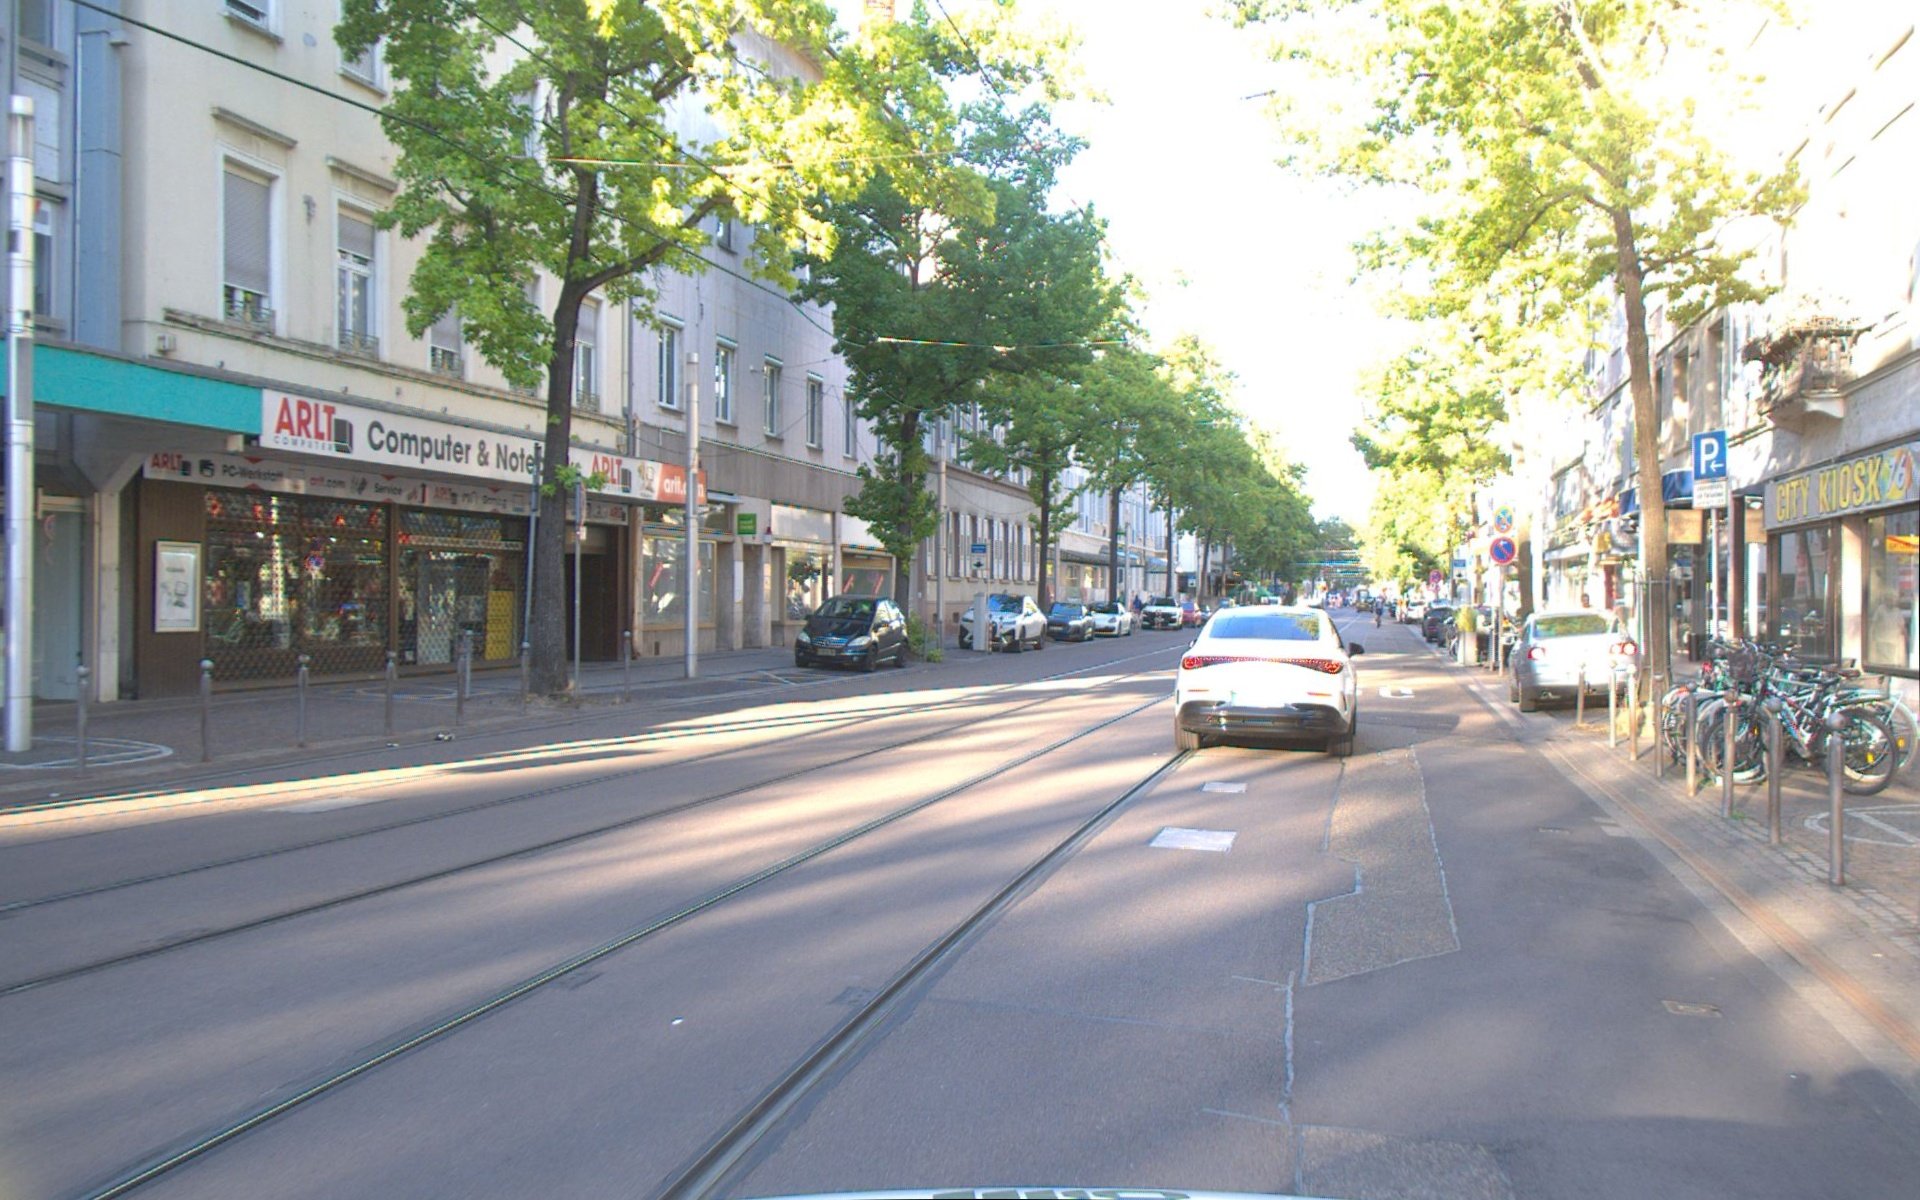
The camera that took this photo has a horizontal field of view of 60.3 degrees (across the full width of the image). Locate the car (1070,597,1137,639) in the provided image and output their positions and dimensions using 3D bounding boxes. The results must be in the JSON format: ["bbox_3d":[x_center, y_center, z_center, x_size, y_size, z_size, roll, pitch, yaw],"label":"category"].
[{"bbox_3d":[6.136,0.764,70.195,1.905,1.668,4.912,1,0,16],"label":"car"}]

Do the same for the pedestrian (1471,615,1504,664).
[{"bbox_3d":[13.973,1.037,43.791,0.800,1.287,0.586,0,0,20],"label":"pedestrian"}]

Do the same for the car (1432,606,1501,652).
[{"bbox_3d":[17.802,0.999,58.307,1.775,1.512,4.003,1,0,9],"label":"car"}]

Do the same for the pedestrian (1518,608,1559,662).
[{"bbox_3d":[15.170,0.908,43.393,0.698,1.411,0.742,0,0,-23],"label":"pedestrian"}]

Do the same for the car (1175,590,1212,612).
[{"bbox_3d":[14.903,0.058,105.478,1.951,1.315,4.003,1,0,14],"label":"car"}]

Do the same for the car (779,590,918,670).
[{"bbox_3d":[-2.449,0.658,37.401,1.920,1.668,4.003,1,0,15],"label":"car"}]

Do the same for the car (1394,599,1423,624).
[{"bbox_3d":[32.312,0.797,119.110,1.951,1.758,4.244,0,0,14],"label":"car"}]

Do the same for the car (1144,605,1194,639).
[{"bbox_3d":[11.167,1.145,88.187,1.920,1.721,5.016,1,0,15],"label":"car"}]

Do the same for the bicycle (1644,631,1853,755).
[{"bbox_3d":[7.924,0.921,16.687,1.826,1.175,0.562,1,-1,16],"label":"bicycle"}]

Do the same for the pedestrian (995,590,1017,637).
[{"bbox_3d":[1.734,0.523,62.489,0.671,1.751,0.656,1,0,15],"label":"pedestrian"}]

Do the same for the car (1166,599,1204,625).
[{"bbox_3d":[13.293,0.711,97.629,1.653,1.525,4.237,1,0,15],"label":"car"}]

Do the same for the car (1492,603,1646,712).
[{"bbox_3d":[9.278,0.846,25.505,1.738,1.465,4.425,-3,-1,15],"label":"car"}]

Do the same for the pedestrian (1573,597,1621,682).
[{"bbox_3d":[12.740,0.785,33.086,0.786,1.672,0.756,-1,0,14],"label":"pedestrian"}]

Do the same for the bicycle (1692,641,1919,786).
[{"bbox_3d":[7.323,0.961,14.240,1.826,1.175,0.348,1,-1,16],"label":"bicycle"}]

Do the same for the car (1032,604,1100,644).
[{"bbox_3d":[4.053,0.888,62.511,1.920,1.437,4.850,1,0,12],"label":"car"}]

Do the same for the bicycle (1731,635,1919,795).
[{"bbox_3d":[7.074,0.889,13.328,0.454,1.175,1.668,1,-1,-25],"label":"bicycle"}]

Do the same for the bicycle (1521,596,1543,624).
[{"bbox_3d":[22.801,0.385,65.946,0.634,1.093,1.863,0,0,13],"label":"bicycle"}]

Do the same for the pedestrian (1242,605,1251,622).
[{"bbox_3d":[25.802,1.190,148.962,0.508,1.504,0.648,-2,-2,-13],"label":"pedestrian"}]

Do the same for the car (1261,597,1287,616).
[{"bbox_3d":[34.070,0.734,179.515,1.953,2.049,3.999,0,0,22],"label":"car"}]

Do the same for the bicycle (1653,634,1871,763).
[{"bbox_3d":[7.759,0.937,16.075,1.826,1.175,0.562,1,-1,16],"label":"bicycle"}]

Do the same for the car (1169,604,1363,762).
[{"bbox_3d":[3.395,0.793,17.808,1.828,1.494,4.045,0,0,14],"label":"car"}]

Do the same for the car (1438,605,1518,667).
[{"bbox_3d":[15.432,1.048,49.413,1.764,1.482,3.657,9,1,12],"label":"car"}]

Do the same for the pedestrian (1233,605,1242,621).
[{"bbox_3d":[24.806,1.157,147.781,0.559,1.489,0.648,0,0,34],"label":"pedestrian"}]

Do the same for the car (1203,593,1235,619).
[{"bbox_3d":[18.597,0.426,118.712,1.521,1.827,3.166,0,0,23],"label":"car"}]

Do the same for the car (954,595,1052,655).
[{"bbox_3d":[1.410,0.749,51.489,1.920,1.668,4.815,3,0,15],"label":"car"}]

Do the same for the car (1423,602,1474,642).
[{"bbox_3d":[19.466,0.861,66.003,1.831,1.478,4.108,-2,-1,16],"label":"car"}]

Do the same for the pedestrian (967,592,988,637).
[{"bbox_3d":[0.677,0.557,62.918,0.660,1.709,0.648,0,0,14],"label":"pedestrian"}]

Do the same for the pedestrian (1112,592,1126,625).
[{"bbox_3d":[8.917,0.451,92.606,0.692,1.838,0.676,0,0,15],"label":"pedestrian"}]

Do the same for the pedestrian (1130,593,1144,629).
[{"bbox_3d":[9.873,0.609,92.233,0.692,2.039,0.676,0,0,13],"label":"pedestrian"}]

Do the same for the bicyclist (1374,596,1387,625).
[{"bbox_3d":[24.659,0.616,97.045,0.709,1.732,0.811,0,-1,15],"label":"bicyclist"}]

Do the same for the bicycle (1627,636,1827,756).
[{"bbox_3d":[7.988,0.983,17.294,1.826,1.175,0.562,1,-1,16],"label":"bicycle"}]

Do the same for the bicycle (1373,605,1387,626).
[{"bbox_3d":[24.612,0.900,96.914,0.725,1.209,2.162,0,-1,15],"label":"bicycle"}]

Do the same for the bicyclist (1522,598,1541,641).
[{"bbox_3d":[22.842,0.782,66.105,0.625,1.713,0.600,0,-1,13],"label":"bicyclist"}]

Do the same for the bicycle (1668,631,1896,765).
[{"bbox_3d":[7.631,0.894,15.433,1.826,1.175,0.562,1,-1,16],"label":"bicycle"}]

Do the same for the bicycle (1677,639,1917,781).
[{"bbox_3d":[7.428,0.959,14.748,1.826,1.175,0.562,1,-1,16],"label":"bicycle"}]
